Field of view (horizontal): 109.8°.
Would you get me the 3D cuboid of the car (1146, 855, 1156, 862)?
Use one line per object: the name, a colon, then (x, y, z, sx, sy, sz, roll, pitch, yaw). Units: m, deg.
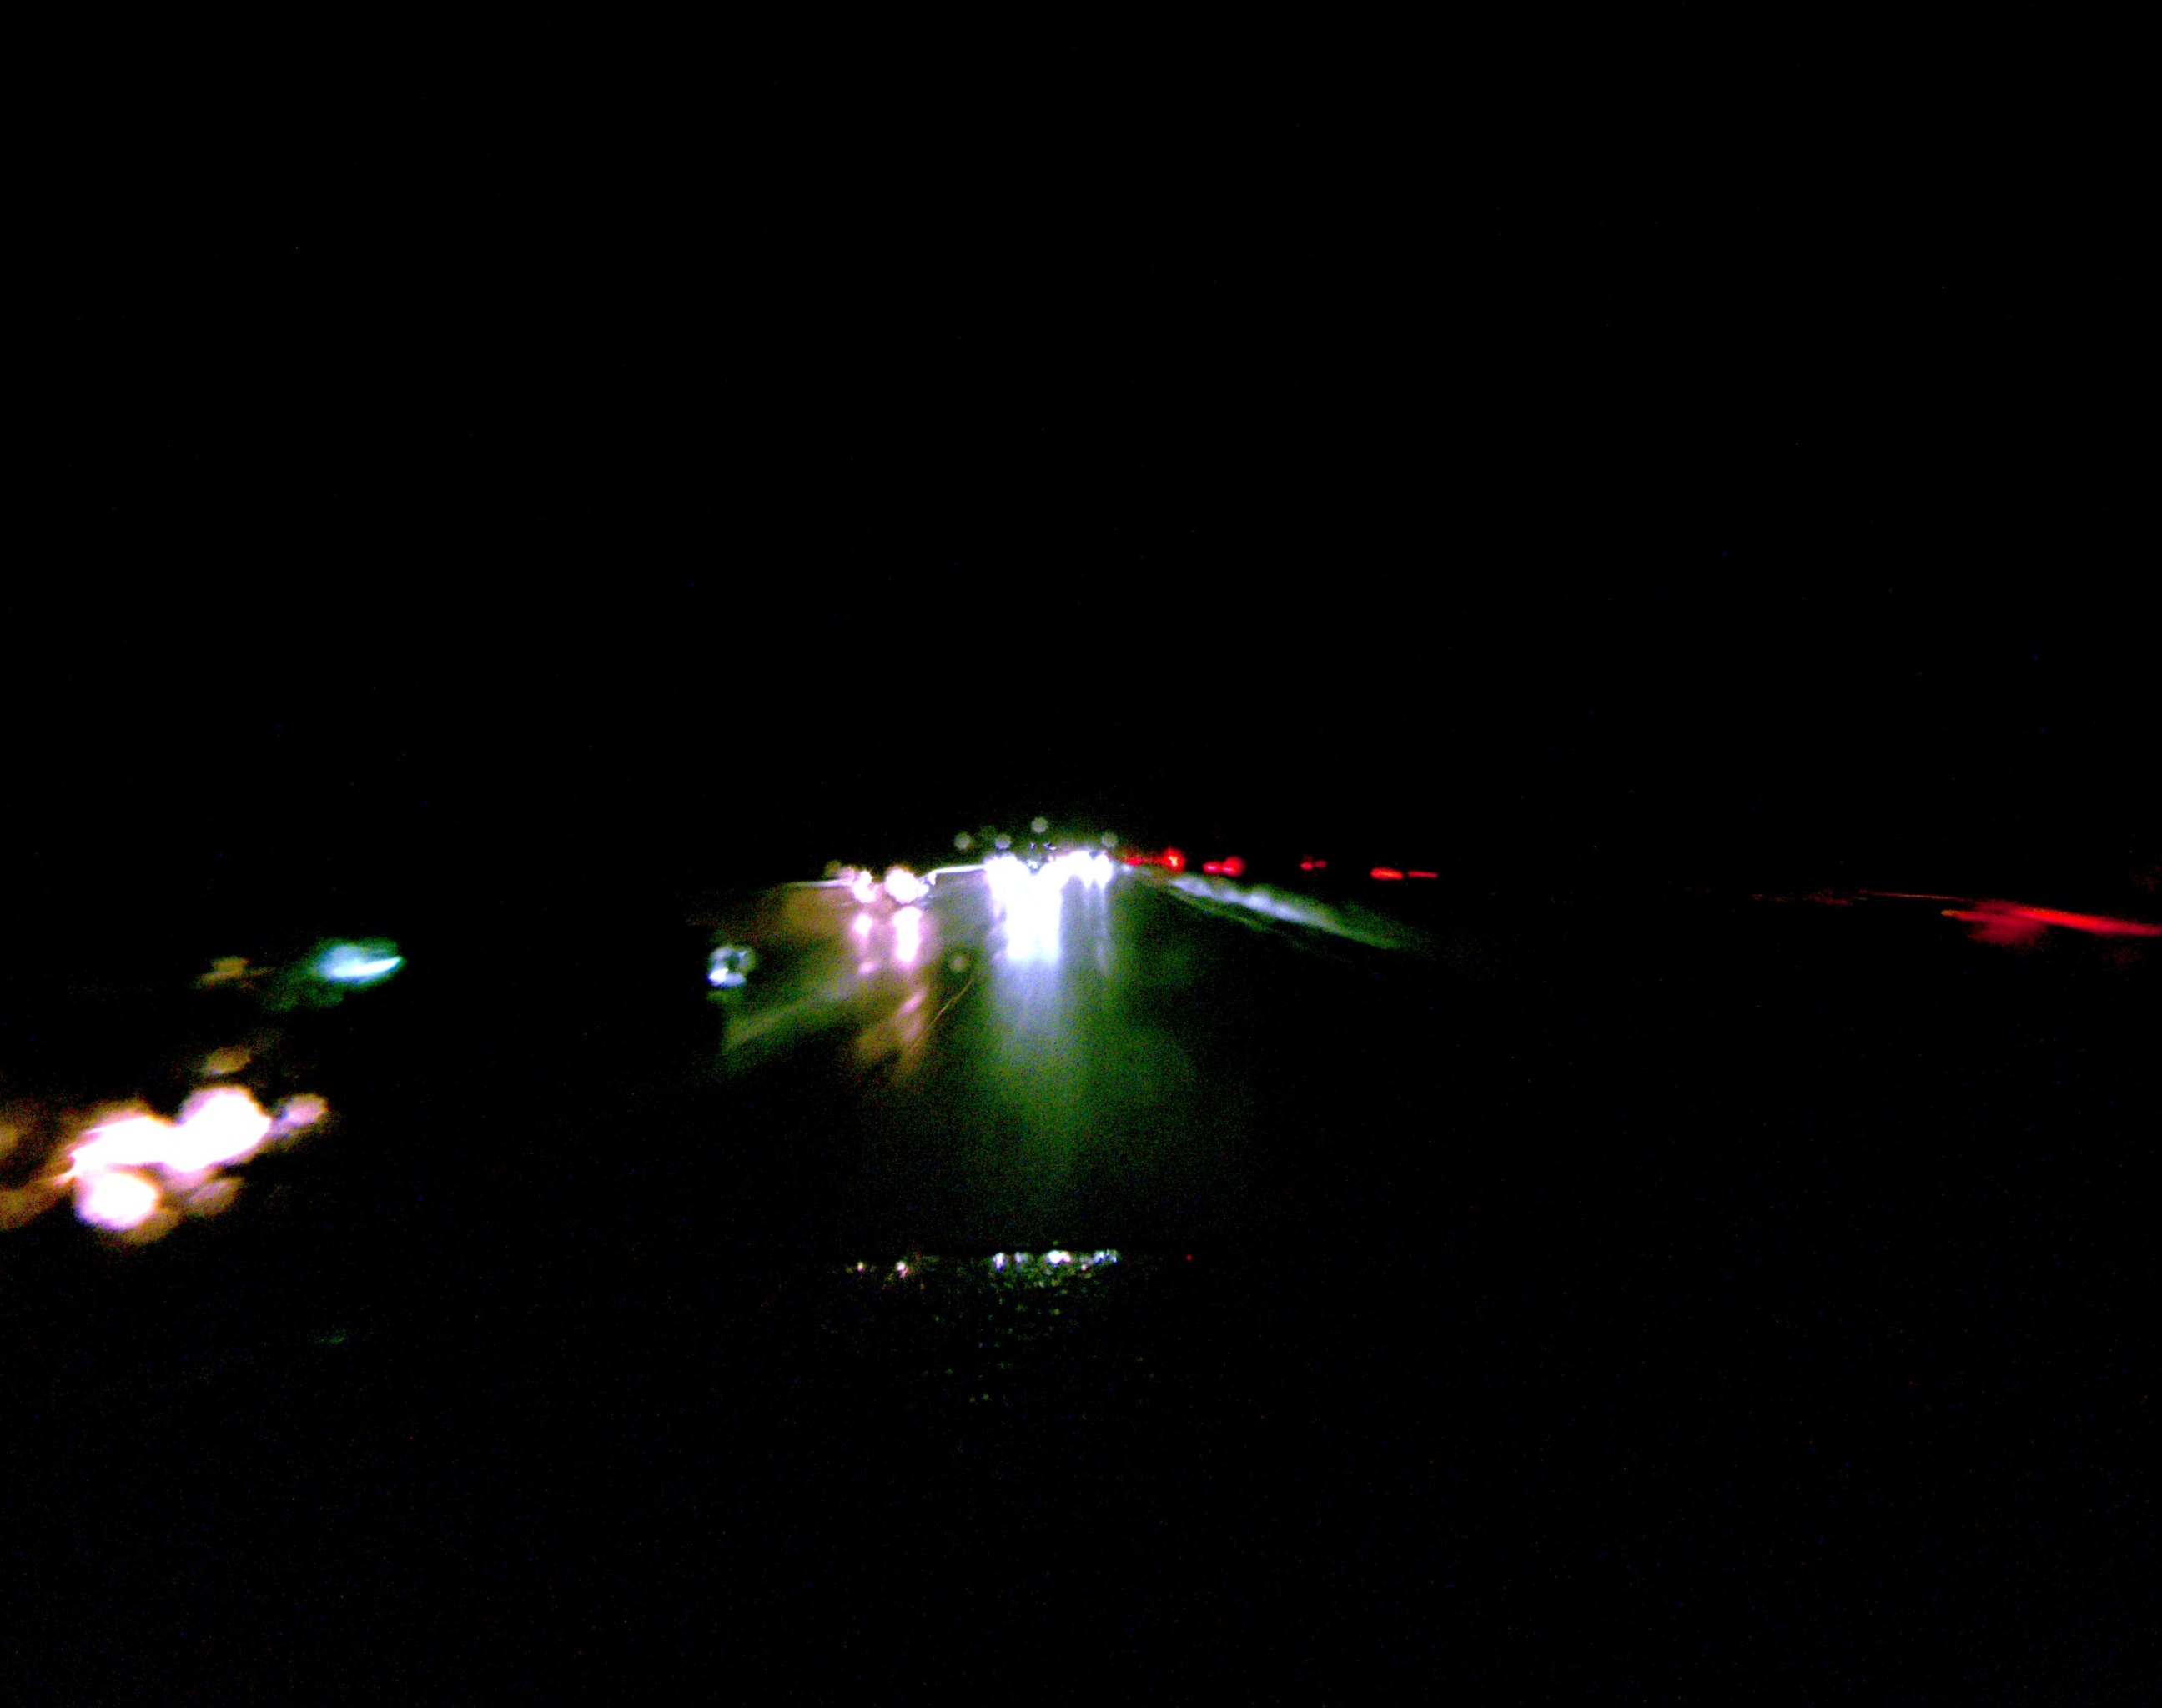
car: (14.832, 0.988, 161.529, 1.654, 1.572, 5.128, -1, 0, 1)

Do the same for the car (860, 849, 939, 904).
car: (-7.016, 0.832, 30.028, 2.052, 1.962, 5.405, -1, 0, -3)

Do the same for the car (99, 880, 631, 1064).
car: (-8.024, 1.171, 9.444, 1.899, 1.477, 4.962, -2, 0, -1)

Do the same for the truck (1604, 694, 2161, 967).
truck: (17.568, -0.397, 17.700, 2.938, 4.302, 11.435, 1, 1, 1)

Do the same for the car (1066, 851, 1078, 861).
car: (-1.567, 0.352, 135.890, 1.944, 1.521, 4.000, -2, 0, 2)

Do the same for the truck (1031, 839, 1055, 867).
truck: (-5.693, -0.165, 115.557, 2.866, 4.079, 7.014, -2, 0, 2)

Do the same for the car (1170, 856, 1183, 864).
car: (18.285, 1.179, 145.630, 1.877, 1.607, 4.501, 1, 0, 0)

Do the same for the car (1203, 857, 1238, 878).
car: (9.487, 0.889, 51.883, 1.758, 1.354, 4.116, 0, 0, 1)

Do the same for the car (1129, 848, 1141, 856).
car: (10.441, -0.378, 147.800, 1.999, 1.607, 4.417, 1, 0, 0)

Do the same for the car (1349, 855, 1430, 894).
car: (12.948, 0.815, 32.154, 1.759, 1.516, 4.116, 0, 0, 0)

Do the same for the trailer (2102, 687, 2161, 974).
trailer: (17.423, -0.296, 7.360, 2.947, 4.252, 8.936, 1, 1, 1)

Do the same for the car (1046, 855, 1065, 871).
car: (-2.512, 0.907, 76.572, 1.619, 1.494, 3.768, -2, 1, 2)

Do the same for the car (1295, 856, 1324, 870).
car: (27.068, 1.024, 90.182, 1.868, 1.462, 4.352, -2, 0, -3)

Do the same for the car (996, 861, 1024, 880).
car: (-5.827, 1.327, 62.966, 1.747, 1.470, 5.366, -2, 0, 1)

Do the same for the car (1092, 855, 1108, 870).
car: (2.019, 0.929, 81.004, 1.619, 1.452, 3.768, -2, 0, 2)

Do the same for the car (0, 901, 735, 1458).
car: (-3.624, 1.103, 4.157, 1.616, 1.404, 3.792, -2, 0, 1)

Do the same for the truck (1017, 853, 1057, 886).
truck: (-2.405, 0.810, 42.899, 1.848, 1.686, 4.854, -2, 0, 1)

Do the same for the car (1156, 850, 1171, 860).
car: (14.806, 0.189, 136.676, 1.999, 1.607, 4.745, 1, 0, 0)

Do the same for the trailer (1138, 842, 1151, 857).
trailer: (19.914, -1.403, 239.620, 2.894, 4.278, 15.720, -2, -1, 1)
